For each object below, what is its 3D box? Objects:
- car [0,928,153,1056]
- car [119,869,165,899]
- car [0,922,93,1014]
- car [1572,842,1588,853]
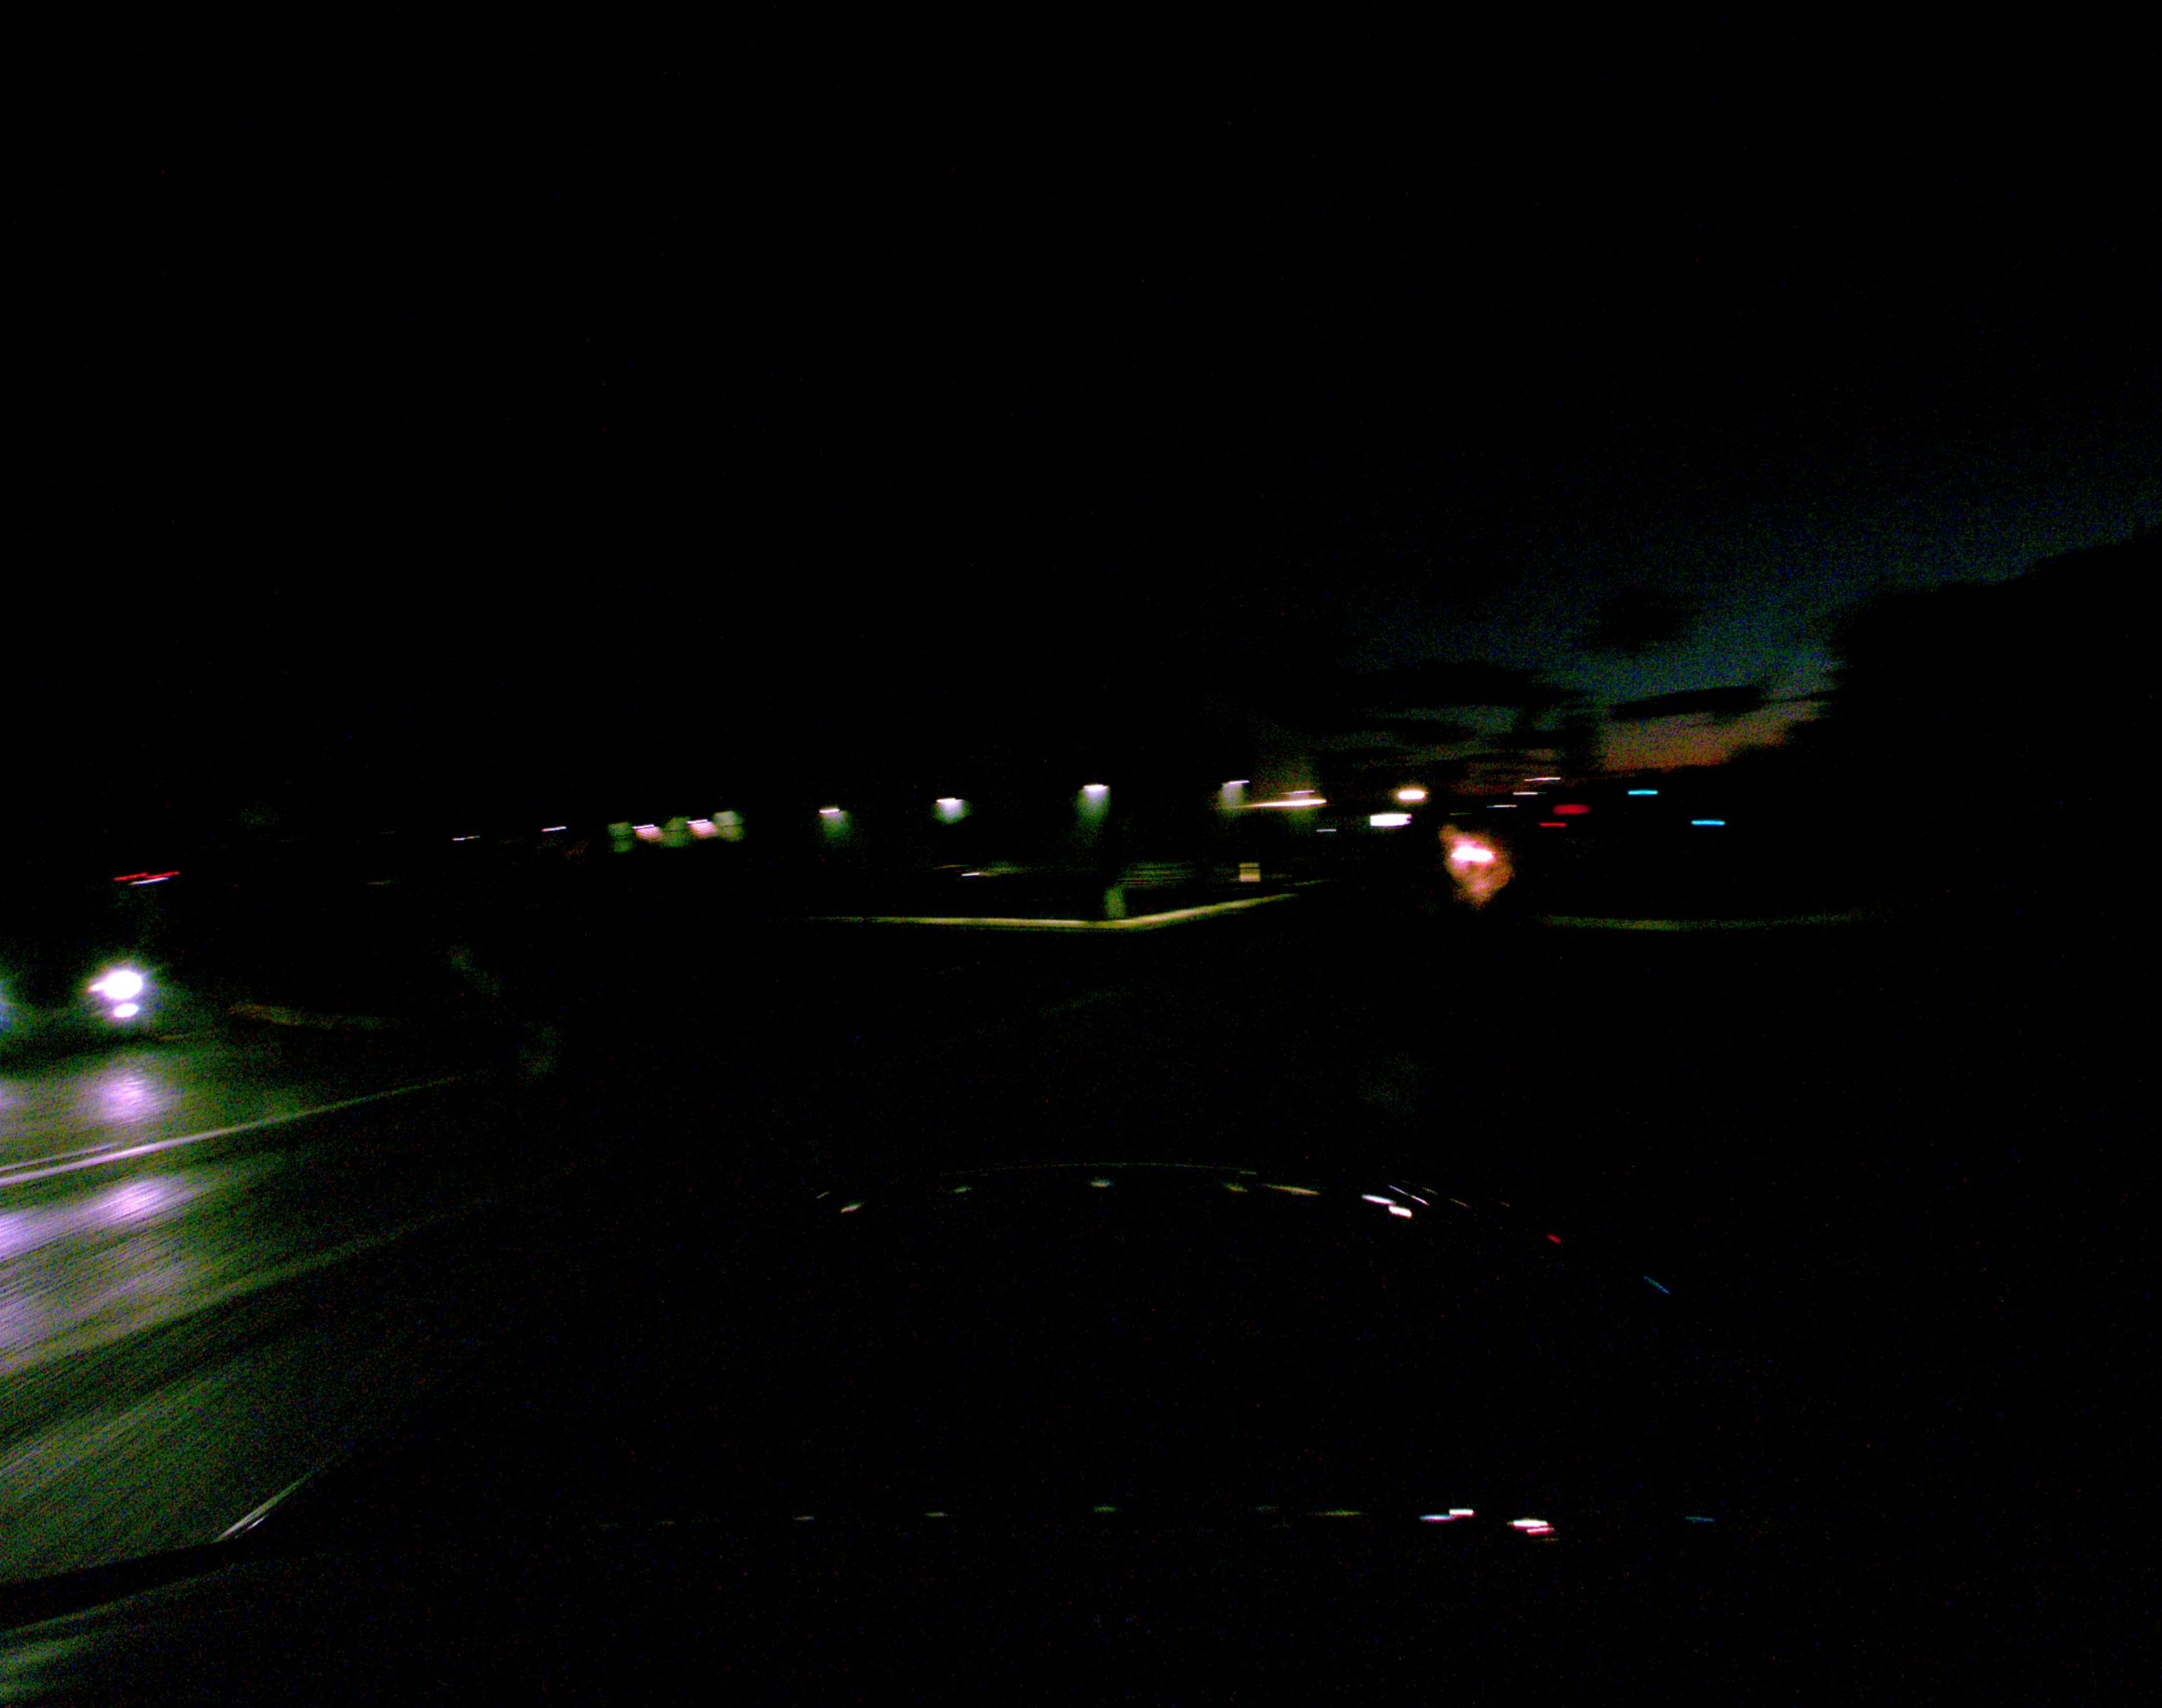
[{"bbox_3d":[-14.781,1.877,11.491,3.820,1.474,1.716,-4,-1,34],"label":"car"},{"bbox_3d":[-66.324,2.089,57.529,3.949,2.013,2.013,-1,0,40],"label":"car"},{"bbox_3d":[-21.041,2.205,16.019,3.933,1.444,1.727,-1,1,35],"label":"car"},{"bbox_3d":[85.267,-1.176,139.253,1.917,1.646,4.025,-3,0,27],"label":"car"}]
